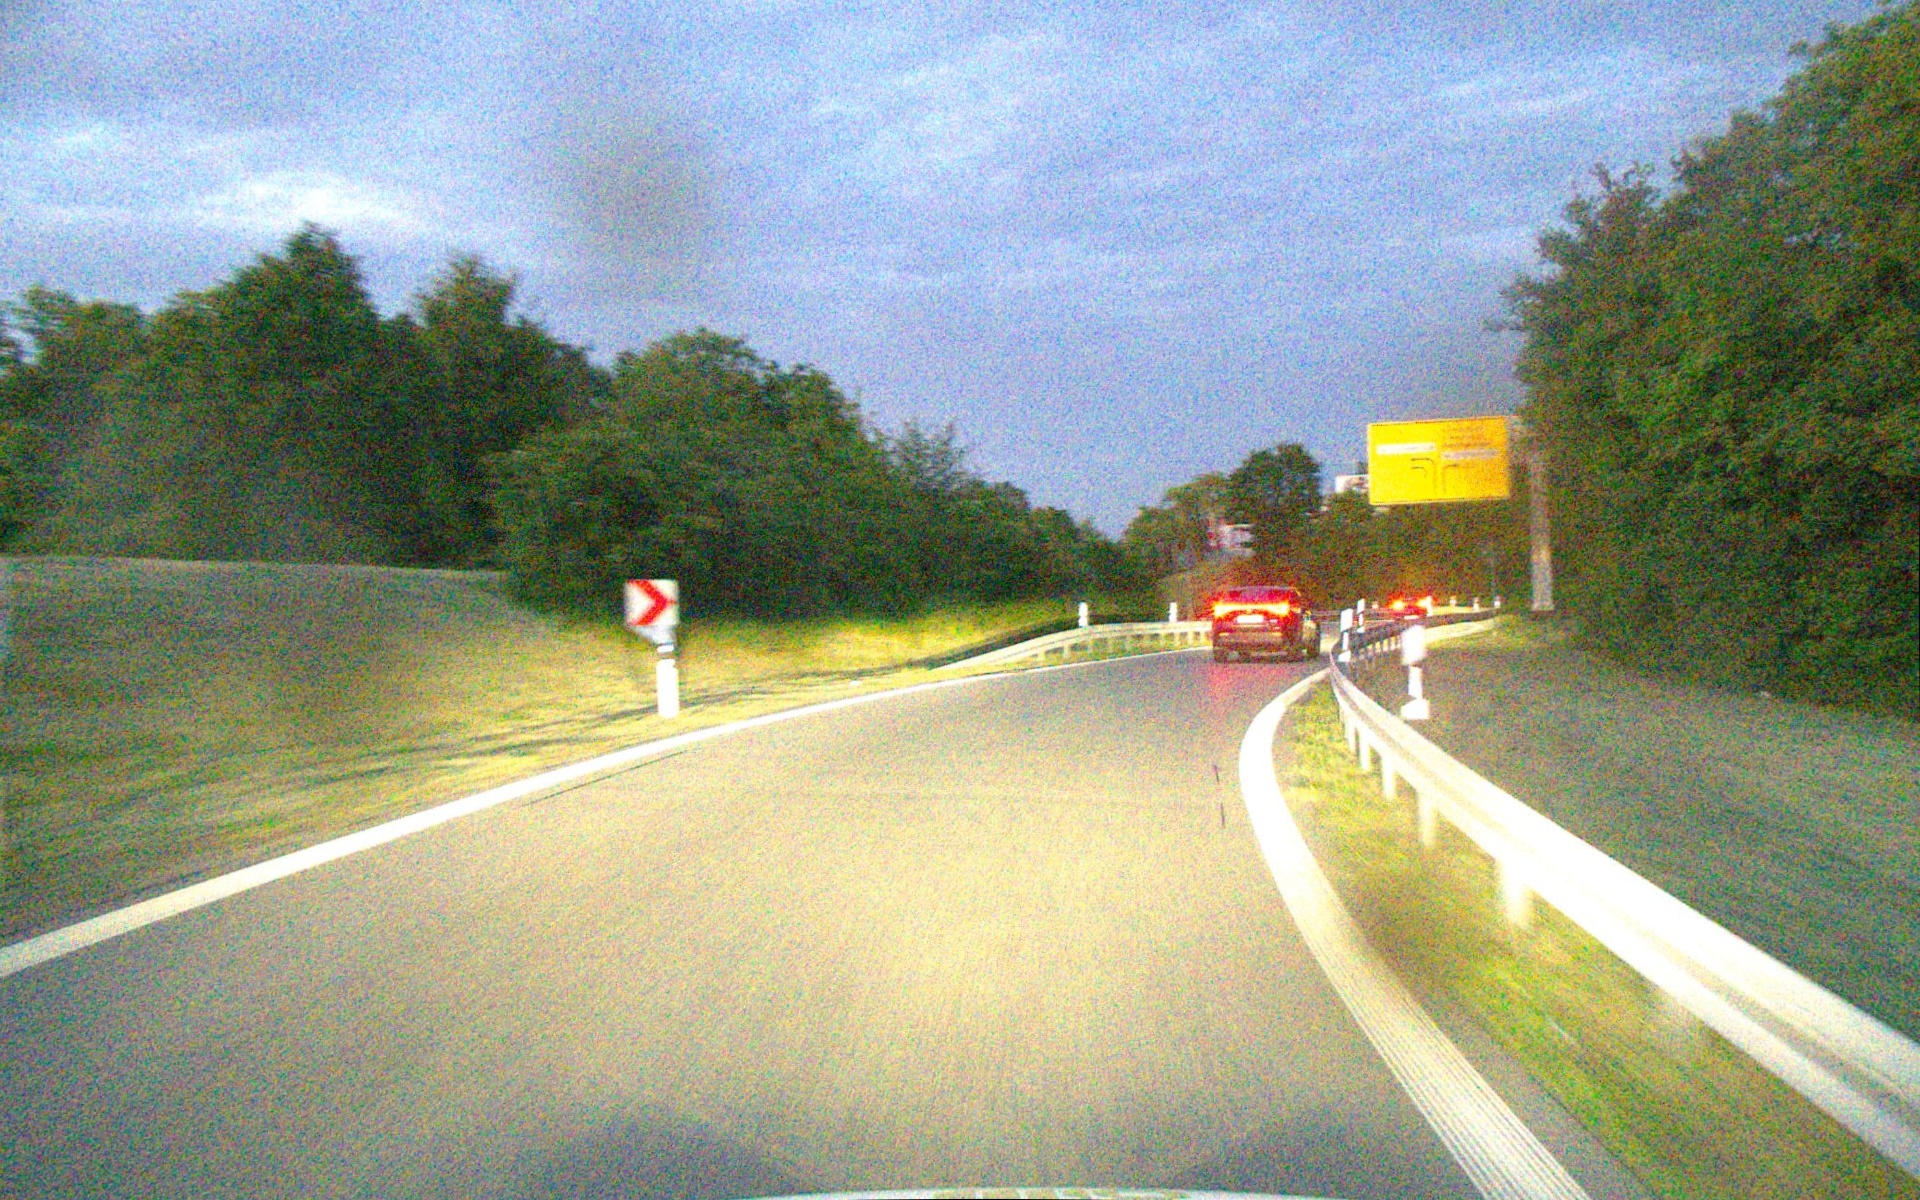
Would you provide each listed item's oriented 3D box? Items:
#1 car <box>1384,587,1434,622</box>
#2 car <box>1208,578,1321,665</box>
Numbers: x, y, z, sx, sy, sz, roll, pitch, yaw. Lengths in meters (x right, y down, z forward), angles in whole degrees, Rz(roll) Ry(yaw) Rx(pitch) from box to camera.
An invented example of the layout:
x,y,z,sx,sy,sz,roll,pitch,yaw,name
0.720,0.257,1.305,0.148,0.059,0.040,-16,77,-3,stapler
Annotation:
x,y,z,sx,sy,sz,roll,pitch,yaw,name
21.481,0.216,78.998,1.952,1.626,4.001,0,0,20,car
6.724,0.455,36.193,1.951,1.688,4.317,-3,-1,16,car
